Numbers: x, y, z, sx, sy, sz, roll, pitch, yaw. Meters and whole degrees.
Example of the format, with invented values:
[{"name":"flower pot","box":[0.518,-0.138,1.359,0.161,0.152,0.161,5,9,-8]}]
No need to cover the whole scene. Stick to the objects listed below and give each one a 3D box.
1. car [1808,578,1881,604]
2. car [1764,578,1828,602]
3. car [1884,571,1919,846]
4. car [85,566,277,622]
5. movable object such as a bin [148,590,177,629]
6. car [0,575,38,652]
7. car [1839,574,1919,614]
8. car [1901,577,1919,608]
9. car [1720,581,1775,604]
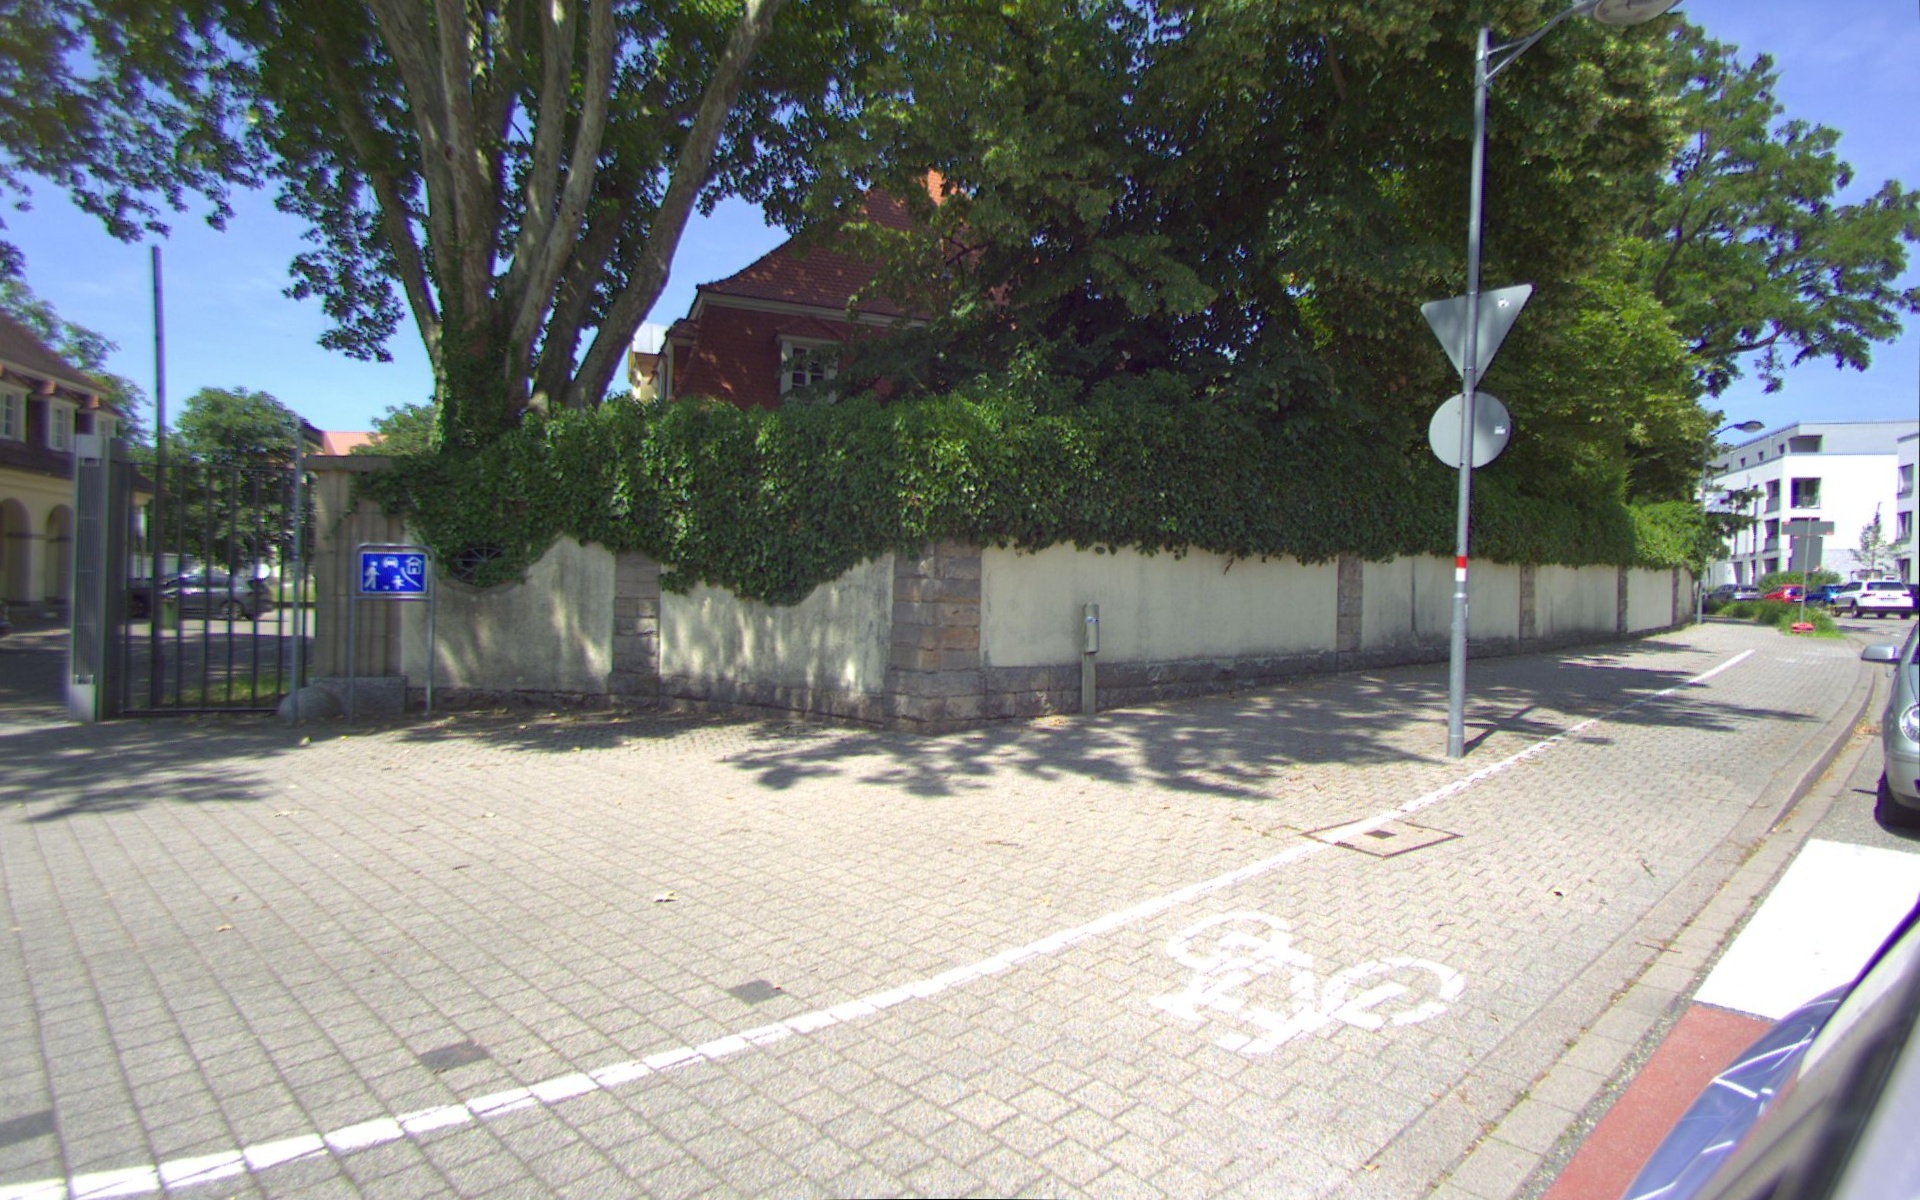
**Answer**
[{"name":"car","box":[49.406,-0.521,56.609,1.684,1.431,3.702,0,1,17]},{"name":"car","box":[51.072,-0.647,61.931,1.684,1.431,3.702,0,1,17]},{"name":"car","box":[7.005,0.552,6.294,3.934,1.470,1.605,-1,1,-44]},{"name":"car","box":[-25.054,-0.189,32.727,4.407,1.420,2.004,5,0,-16]},{"name":"movable object such as a bin","box":[-21.550,0.254,27.354,0.525,1.021,0.530,0,1,42]},{"name":"car","box":[-20.161,0.104,18.476,4.407,1.420,2.004,5,0,-16]},{"name":"car","box":[39.106,-0.300,42.909,1.799,1.628,4.082,0,1,27]},{"name":"car","box":[45.867,-0.364,47.308,1.690,1.431,3.689,0,1,26]},{"name":"car","box":[52.915,-0.521,68.067,1.684,1.431,3.702,0,1,17]}]
